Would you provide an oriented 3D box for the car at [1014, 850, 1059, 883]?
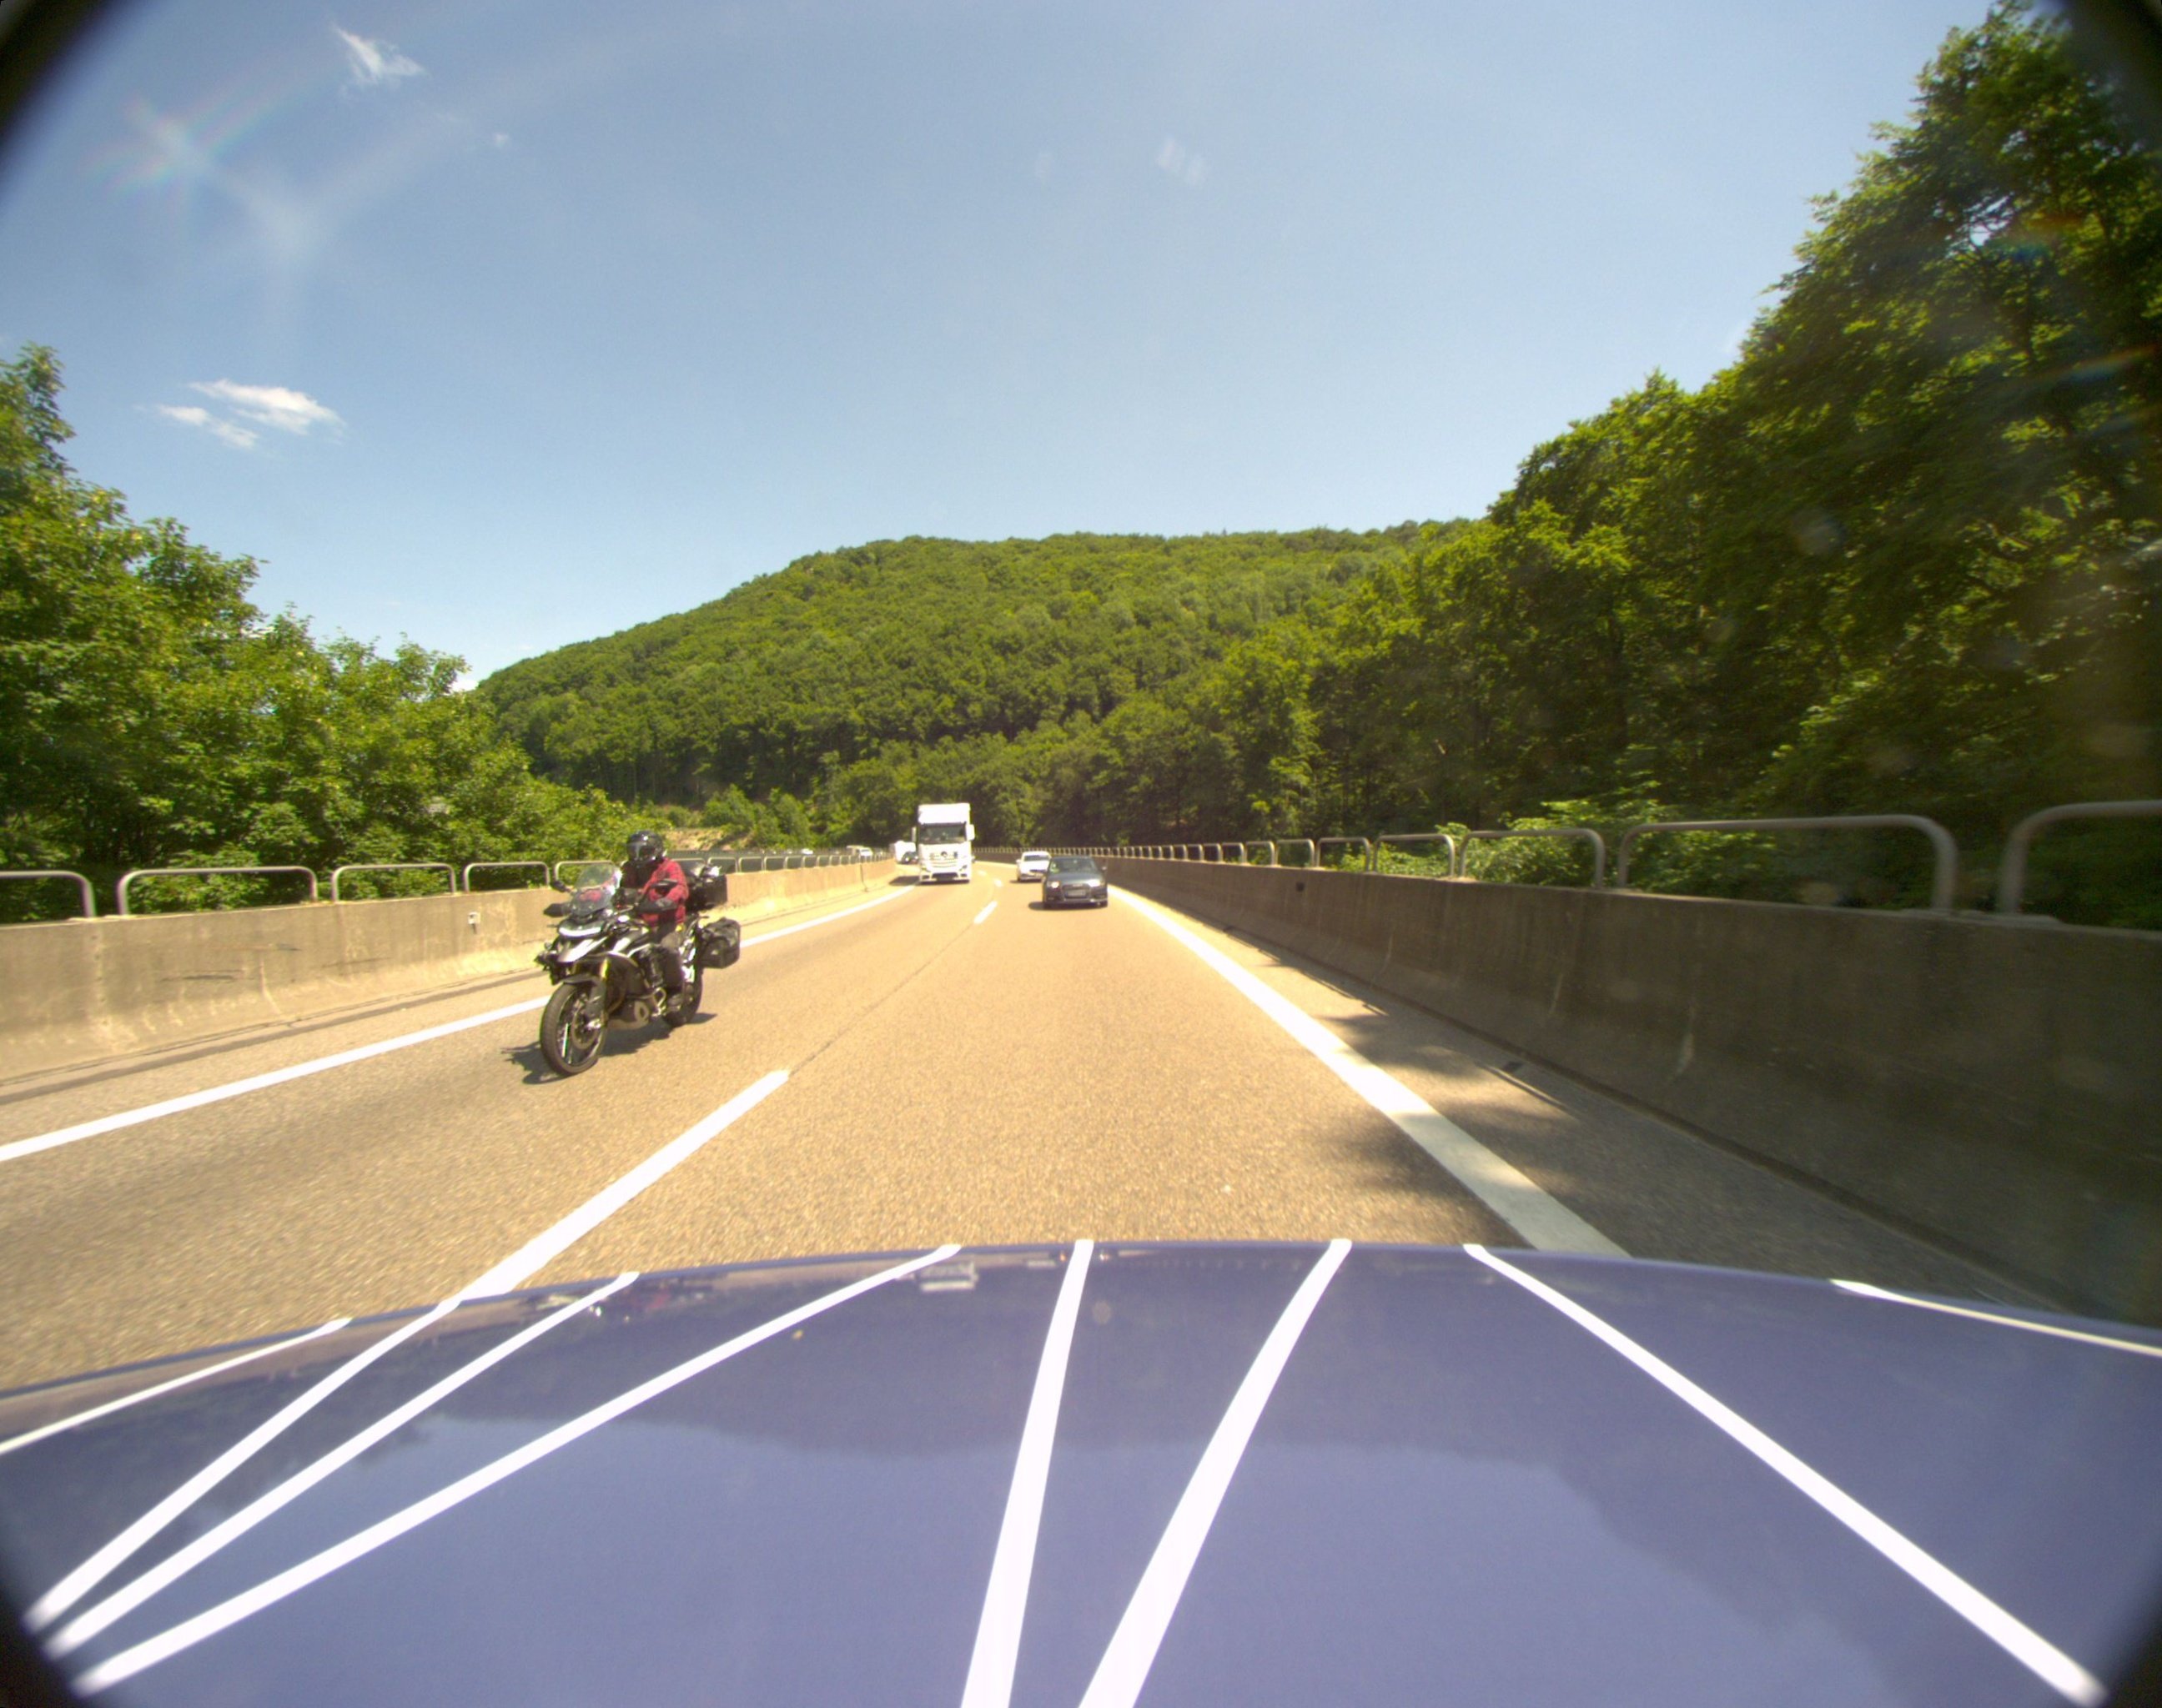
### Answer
[{"bbox_3d":[-2.246,0.566,37.367,1.756,1.460,3.978,-3,1,-8],"label":"car"}]

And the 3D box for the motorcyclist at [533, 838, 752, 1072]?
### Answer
[{"bbox_3d":[-3.688,0.776,6.566,1.063,1.790,1.337,-2,1,-2],"label":"motorcyclist"}]

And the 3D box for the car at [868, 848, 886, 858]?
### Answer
[{"bbox_3d":[-35.656,-0.152,132.942,2.003,1.783,3.990,-2,1,-30],"label":"car"}]

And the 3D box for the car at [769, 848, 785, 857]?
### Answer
[{"bbox_3d":[-70.393,-0.256,175.881,3.989,2.002,2.004,-1,1,43],"label":"car"}]

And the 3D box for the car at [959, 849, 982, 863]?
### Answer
[{"bbox_3d":[-12.273,0.253,84.065,1.758,1.480,3.975,-2,1,-19],"label":"car"}]

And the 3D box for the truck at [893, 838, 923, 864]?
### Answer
[{"bbox_3d":[-21.568,-0.387,94.516,2.621,3.084,6.842,-2,1,-21],"label":"truck"}]

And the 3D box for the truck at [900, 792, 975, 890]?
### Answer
[{"bbox_3d":[-7.319,-0.633,40.966,2.971,4.109,16.694,-2,1,-8],"label":"truck"}]

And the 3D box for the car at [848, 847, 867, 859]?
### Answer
[{"bbox_3d":[-37.383,-0.192,126.987,2.003,2.002,3.989,-1,1,-33],"label":"car"}]

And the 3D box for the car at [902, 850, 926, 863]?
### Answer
[{"bbox_3d":[-19.687,0.302,89.453,1.759,1.480,3.973,-2,1,-27],"label":"car"}]

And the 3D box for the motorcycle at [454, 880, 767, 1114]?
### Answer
[{"bbox_3d":[-3.679,0.995,6.395,0.975,1.411,2.680,-2,1,-2],"label":"motorcycle"}]

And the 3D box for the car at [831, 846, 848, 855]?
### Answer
[{"bbox_3d":[-49.421,-0.713,155.376,2.003,1.783,3.990,-2,1,-35],"label":"car"}]

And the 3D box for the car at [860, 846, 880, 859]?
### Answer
[{"bbox_3d":[-33.712,-0.220,121.333,2.003,2.002,3.990,-2,1,-29],"label":"car"}]

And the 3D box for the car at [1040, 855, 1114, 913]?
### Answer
[{"bbox_3d":[-0.211,0.755,21.155,1.756,1.350,4.120,-2,1,-4],"label":"car"}]
